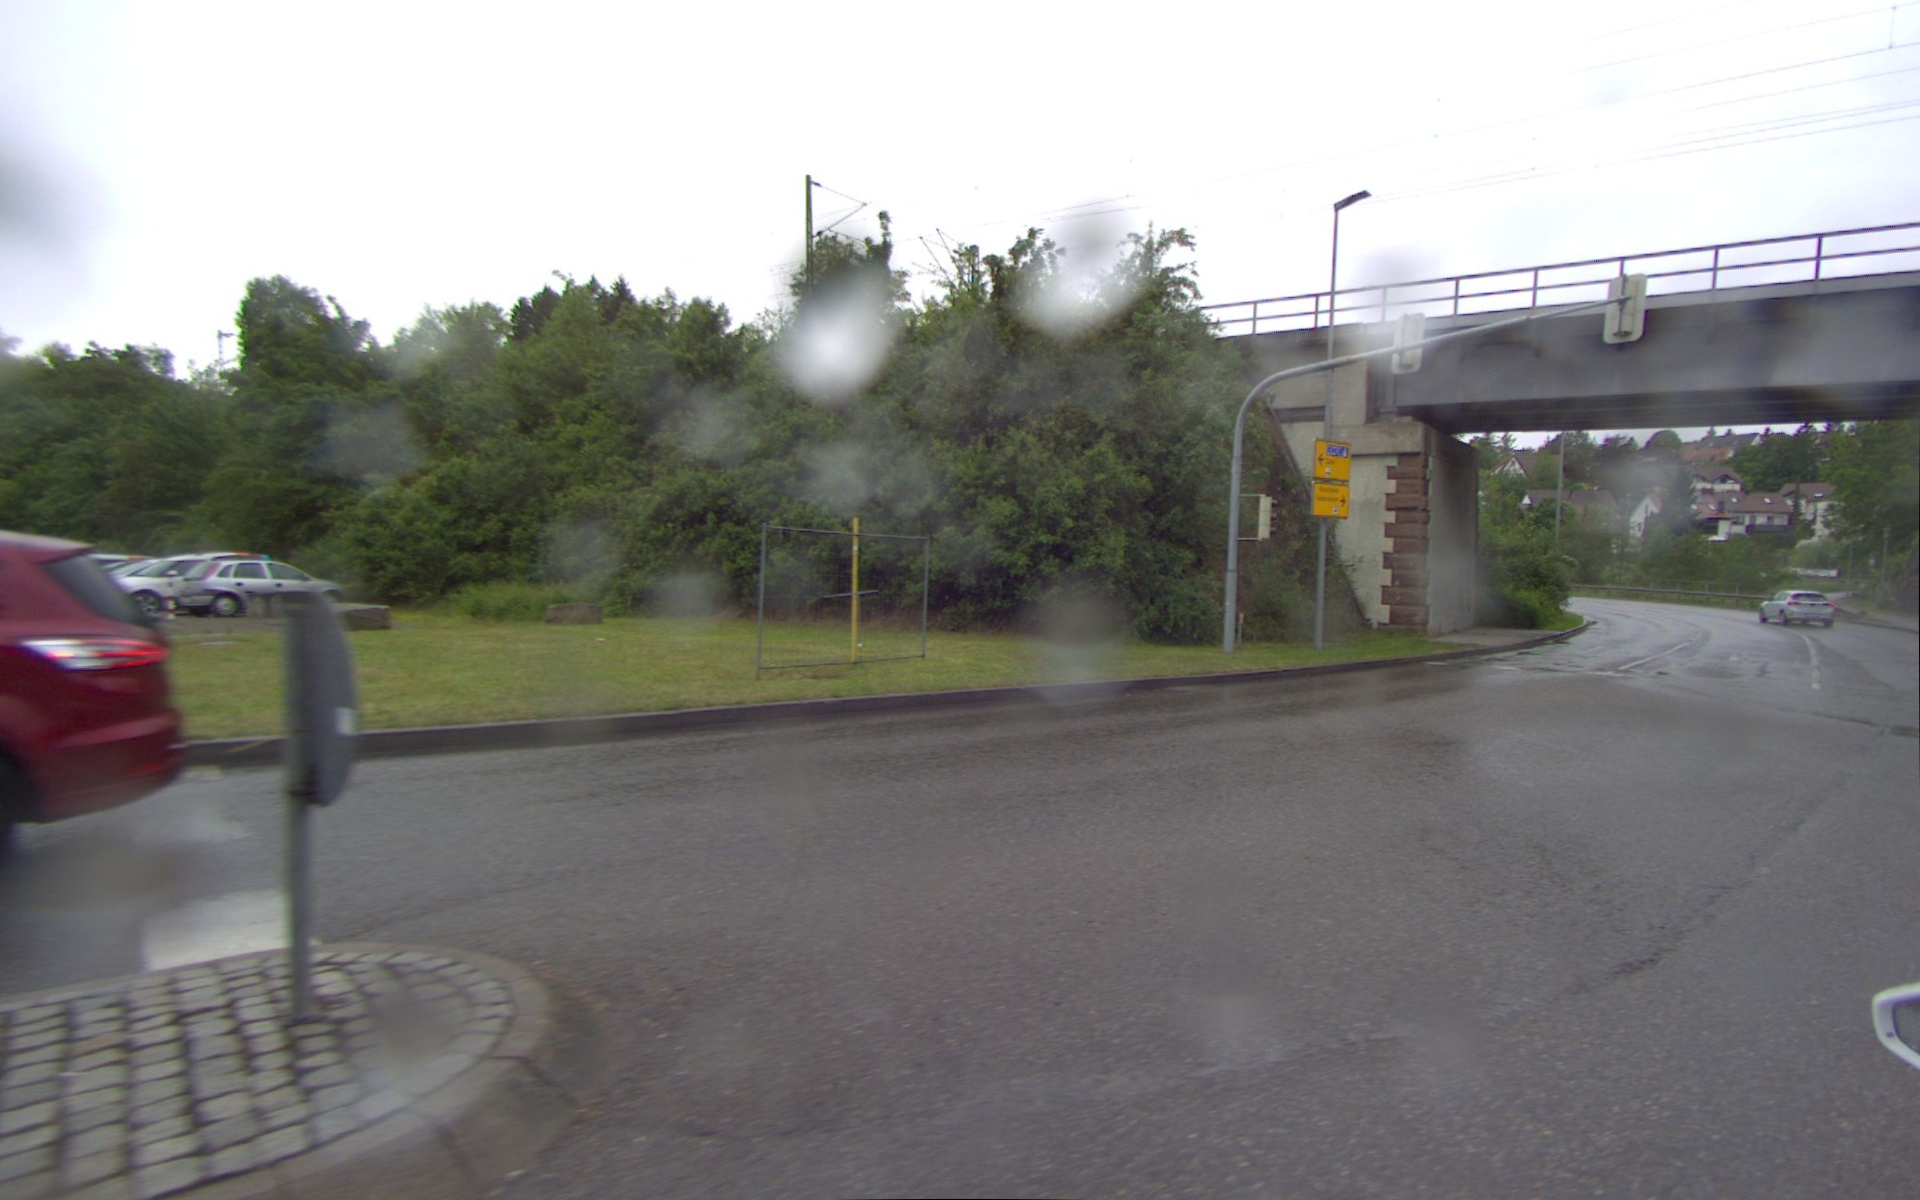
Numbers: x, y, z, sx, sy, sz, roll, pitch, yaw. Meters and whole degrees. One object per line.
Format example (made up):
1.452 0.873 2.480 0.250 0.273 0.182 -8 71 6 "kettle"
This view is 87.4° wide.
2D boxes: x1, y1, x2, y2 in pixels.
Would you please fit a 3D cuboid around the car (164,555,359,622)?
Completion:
-18.145 -0.274 26.248 1.744 1.589 3.814 2 1 33 "car"

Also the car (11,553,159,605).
-28.328 -0.659 32.594 1.423 1.560 3.353 2 1 34 "car"

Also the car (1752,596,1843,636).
36.307 0.657 43.678 1.962 1.583 3.997 2 0 24 "car"

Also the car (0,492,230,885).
-5.962 0.341 4.080 4.649 1.737 1.879 1 1 -43 "car"

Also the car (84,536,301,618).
-20.359 -0.574 26.821 1.872 2.006 4.224 2 1 33 "car"

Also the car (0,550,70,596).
-34.313 -0.983 35.920 1.422 1.560 3.472 2 1 31 "car"

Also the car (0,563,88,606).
-32.468 -0.534 34.563 1.422 1.418 3.472 2 1 31 "car"
